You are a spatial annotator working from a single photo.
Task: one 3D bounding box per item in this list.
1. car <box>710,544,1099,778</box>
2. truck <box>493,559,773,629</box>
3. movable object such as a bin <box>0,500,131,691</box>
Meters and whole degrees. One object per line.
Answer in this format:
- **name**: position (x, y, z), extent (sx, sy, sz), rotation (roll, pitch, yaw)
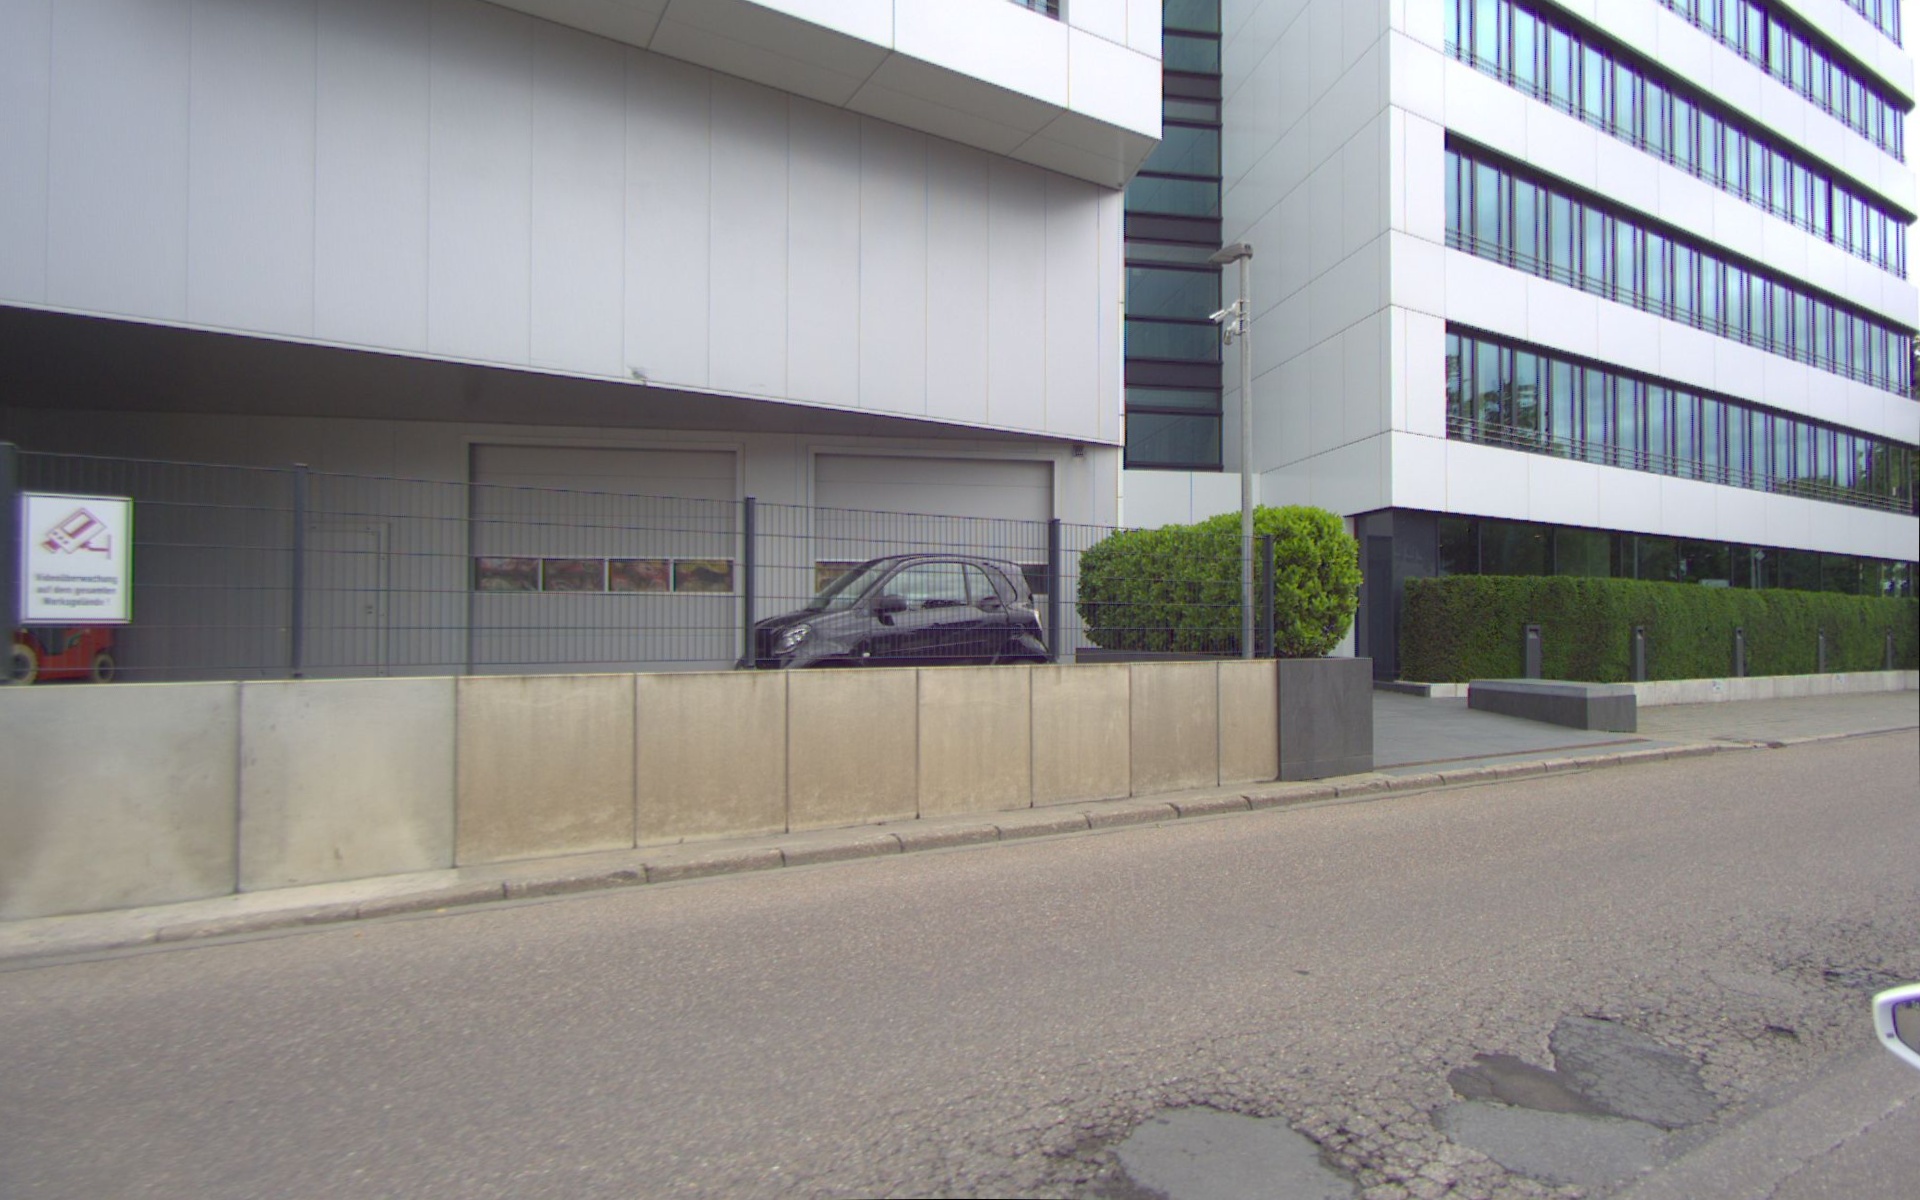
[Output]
- **car**: position (-0.494, 0.492, 9.164), extent (3.140, 1.785, 1.643), rotation (1, 0, -29)
- **truck**: position (-12.462, -0.189, 39.315), extent (10.067, 2.555, 2.977), rotation (0, -2, -12)
- **movable object such as a bin**: position (-12.289, -0.017, 12.805), extent (1.720, 2.252, 2.152), rotation (0, -2, -7)
